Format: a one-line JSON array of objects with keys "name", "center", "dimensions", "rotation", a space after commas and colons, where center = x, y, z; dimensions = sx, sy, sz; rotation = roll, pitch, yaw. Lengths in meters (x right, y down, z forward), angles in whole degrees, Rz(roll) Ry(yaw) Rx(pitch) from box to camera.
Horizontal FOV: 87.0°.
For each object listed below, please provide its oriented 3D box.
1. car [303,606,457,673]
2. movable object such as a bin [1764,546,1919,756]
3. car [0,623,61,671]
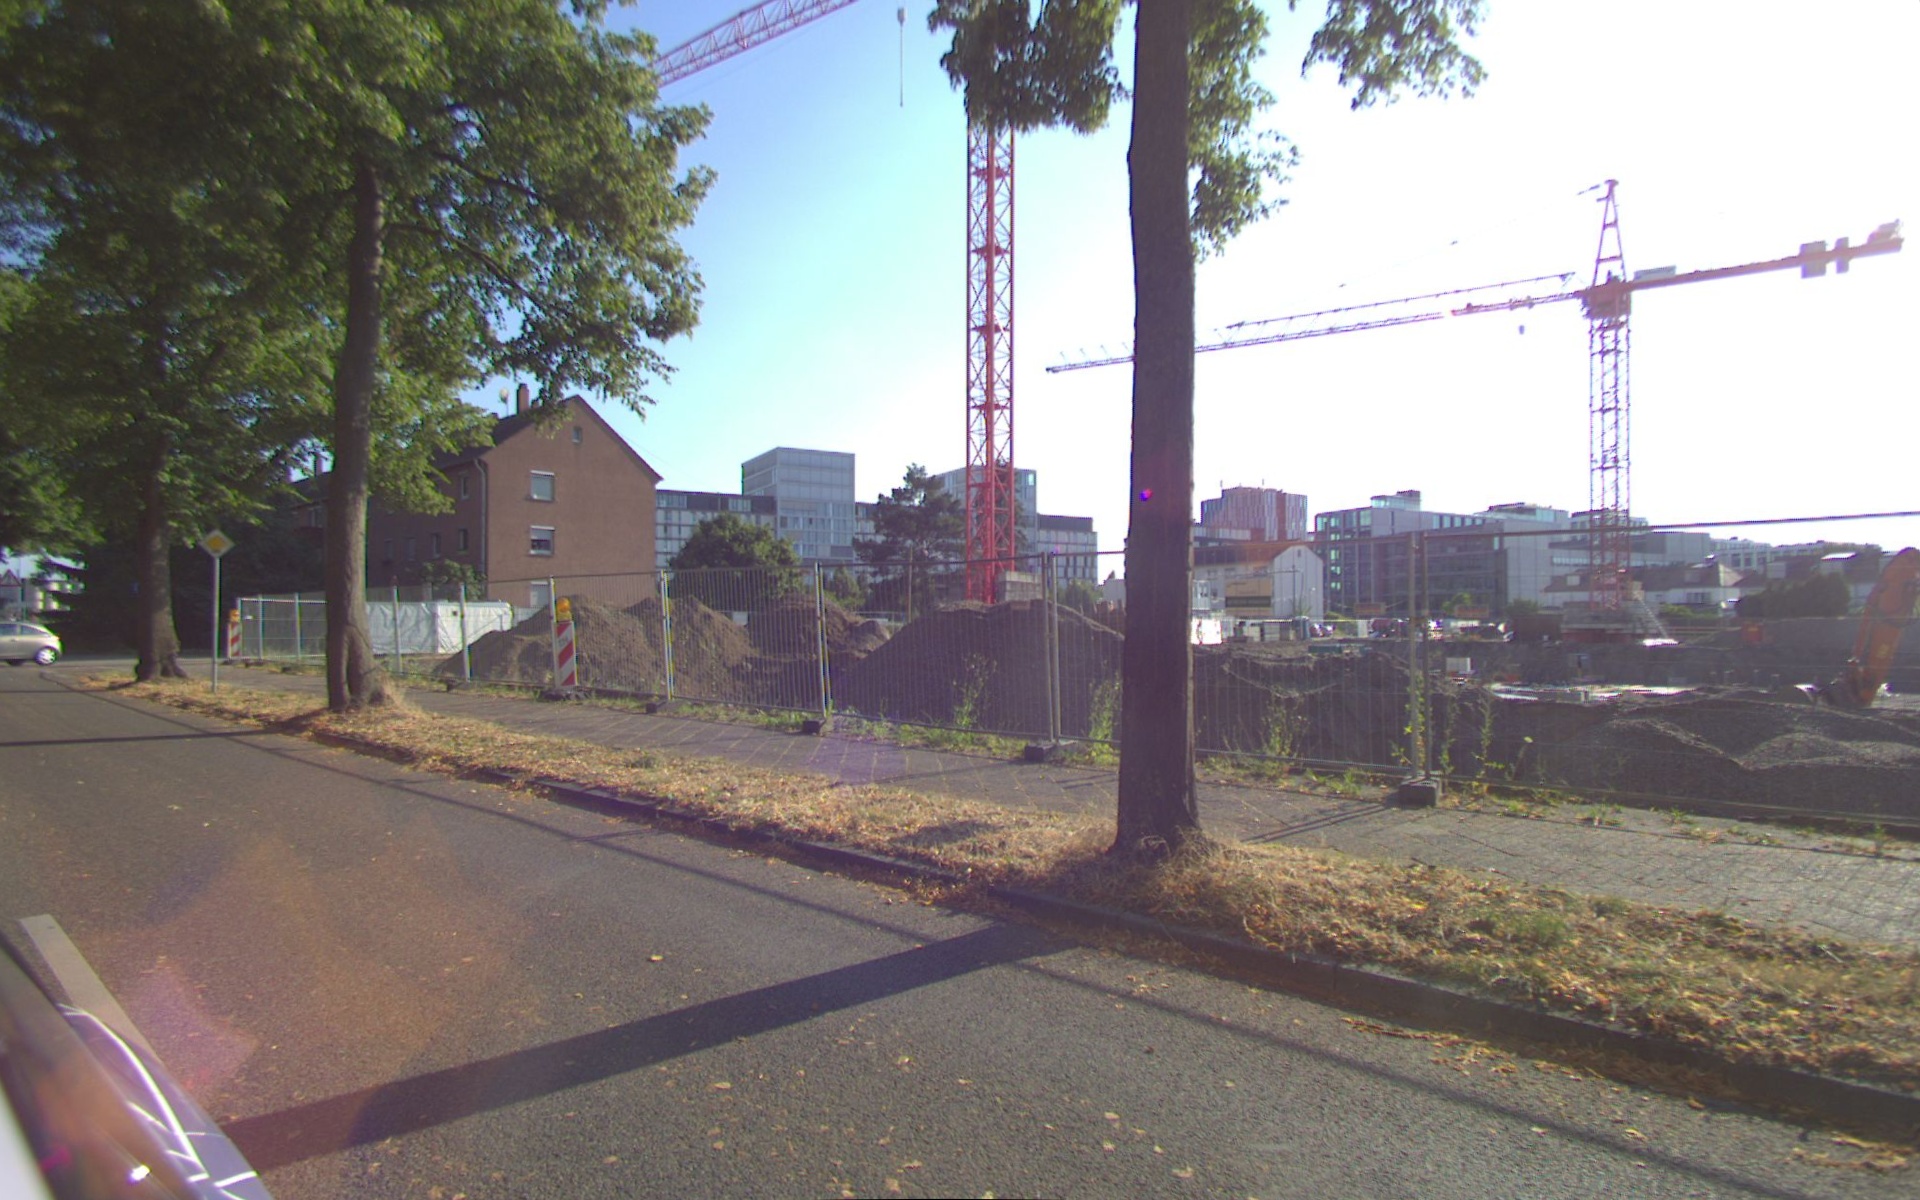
[{"name": "car", "center": [-24.659, 1.733, 43.140], "dimensions": [5.242, 2.487, 2.172], "rotation": [6, -5, -41]}, {"name": "movable object such as a bin", "center": [25.459, 1.178, 22.537], "dimensions": [2.967, 5.031, 11.598], "rotation": [3, -4, -26]}, {"name": "car", "center": [-31.071, 1.533, 31.850], "dimensions": [1.637, 1.484, 3.833], "rotation": [-2, 0, 18]}]
